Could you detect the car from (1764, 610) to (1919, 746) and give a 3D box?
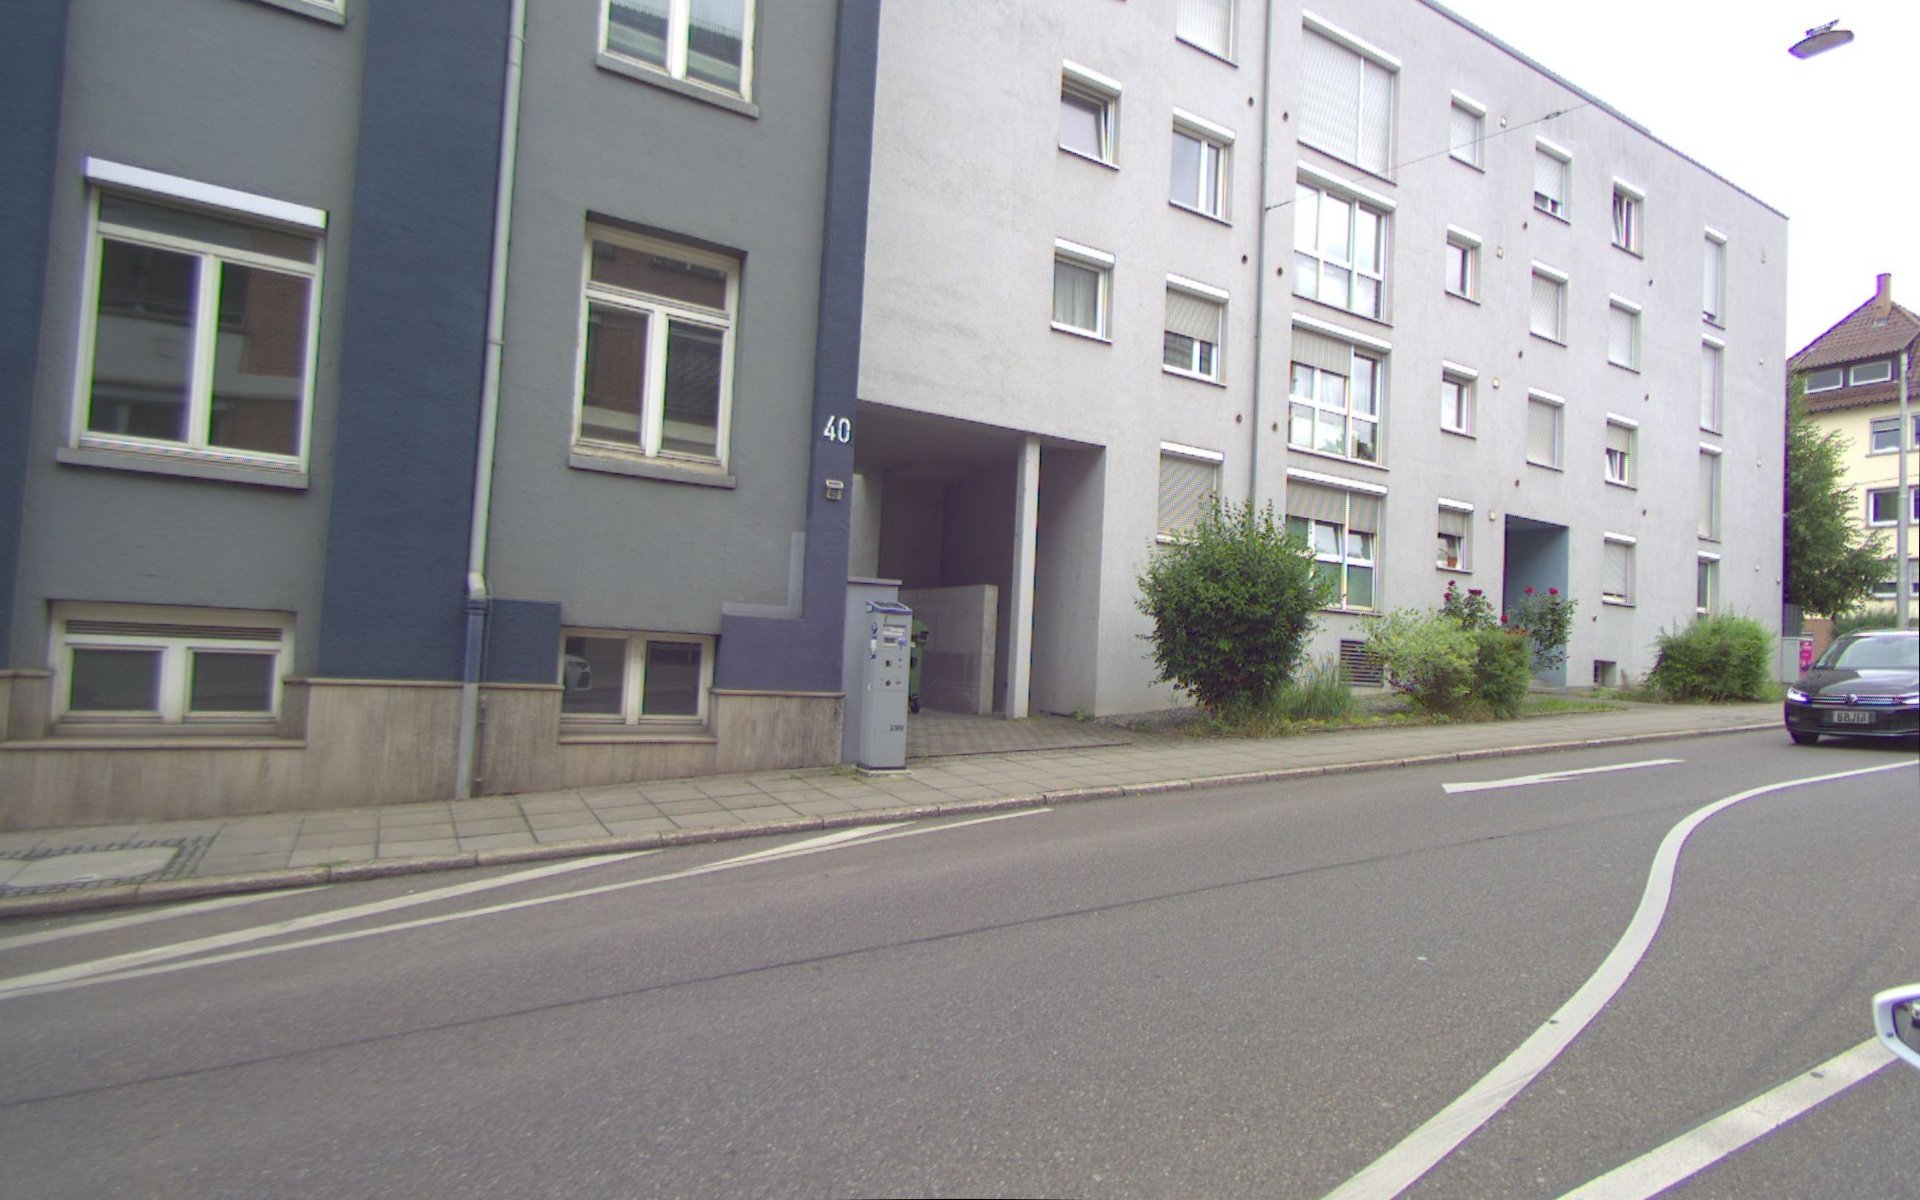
[{"bbox_3d":[13.564,1.079,14.489,4.261,1.729,1.774,2,-4,-33],"label":"car"}]

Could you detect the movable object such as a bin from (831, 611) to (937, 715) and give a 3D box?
[{"bbox_3d":[-1.196,0.982,15.664,1.177,1.497,1.139,6,-4,-29],"label":"movable object such as a bin"}]

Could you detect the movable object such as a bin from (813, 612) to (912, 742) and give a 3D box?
[{"bbox_3d":[-1.222,0.912,12.395,0.774,1.475,1.260,2,1,-26],"label":"movable object such as a bin"}]
